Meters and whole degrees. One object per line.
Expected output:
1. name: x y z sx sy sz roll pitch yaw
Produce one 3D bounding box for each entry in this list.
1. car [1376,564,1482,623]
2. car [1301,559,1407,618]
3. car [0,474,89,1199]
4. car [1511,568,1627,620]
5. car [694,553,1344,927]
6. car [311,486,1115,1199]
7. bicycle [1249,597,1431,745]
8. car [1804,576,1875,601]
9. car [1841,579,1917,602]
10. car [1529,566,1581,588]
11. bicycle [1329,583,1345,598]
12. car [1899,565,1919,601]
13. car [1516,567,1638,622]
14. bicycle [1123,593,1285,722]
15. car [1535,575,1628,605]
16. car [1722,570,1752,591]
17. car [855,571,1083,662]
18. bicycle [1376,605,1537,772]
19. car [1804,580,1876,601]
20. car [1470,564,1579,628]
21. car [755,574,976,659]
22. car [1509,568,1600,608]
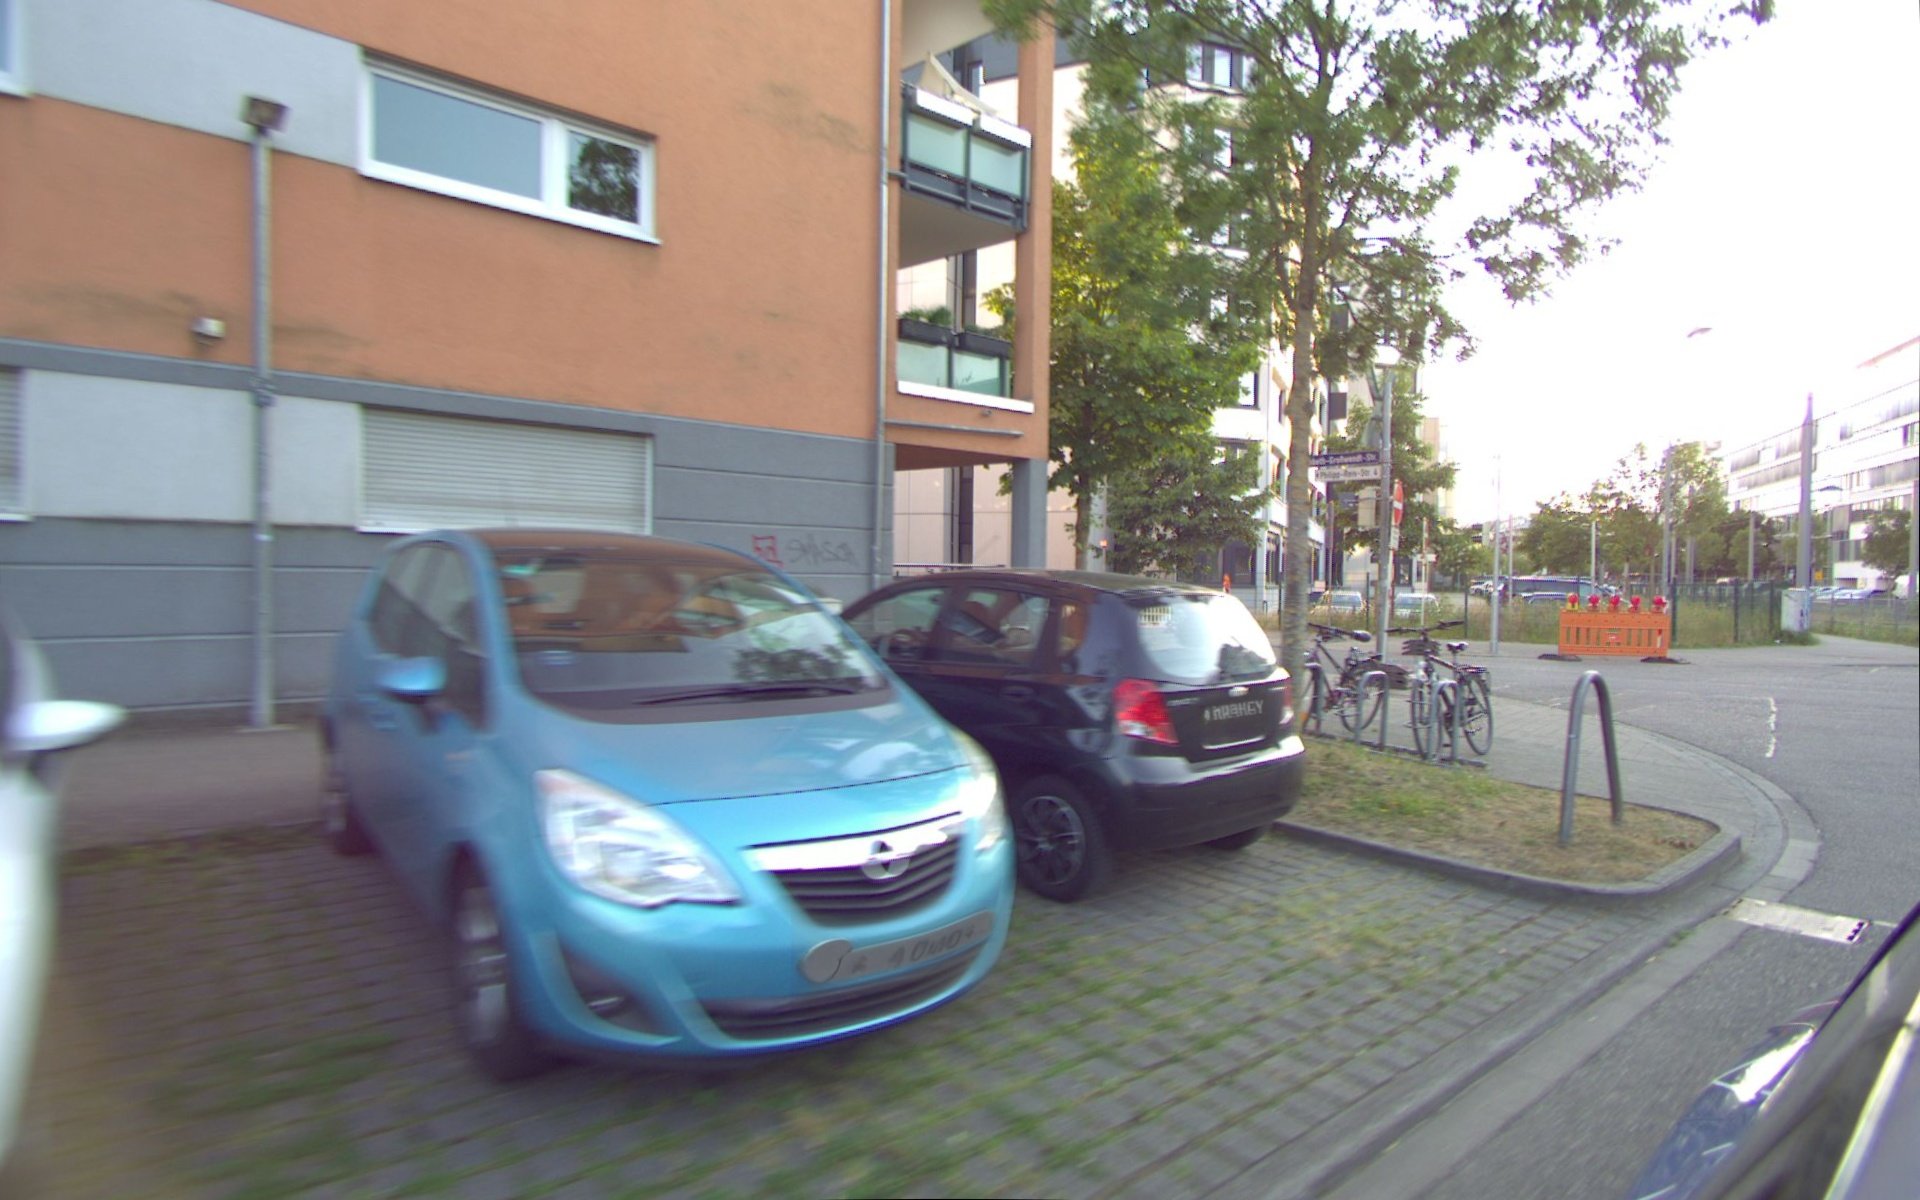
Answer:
1. car: 16.983 -0.262 36.580 3.930 2.039 1.997 0 2 -41
2. car: 14.531 -0.435 37.252 3.930 2.039 1.997 0 2 -41
3. car: -3.360 0.522 2.578 1.591 1.588 3.886 0 2 -39
4. car: 25.148 -0.268 41.979 3.964 2.039 1.980 1 1 29
5. car: 0.085 0.503 5.950 1.586 1.491 3.753 0 2 -43
6. car: -1.450 0.446 4.169 1.643 1.588 4.061 0 3 -39
7. bicycle: 3.458 0.596 9.127 1.894 1.166 0.680 1 2 -42
8. car: 62.620 -0.830 72.069 3.917 1.778 1.721 0 1 -10
9. car: 60.048 -0.621 66.165 3.916 1.393 1.722 0 1 -13
10. car: 56.245 -2.164 95.715 3.955 2.039 1.985 1 1 23
11. bicycle: 24.176 -0.618 64.833 0.806 0.962 2.197 2 2 24
12. car: 76.903 -1.314 80.033 1.985 2.911 6.201 3 2 25
13. car: 24.259 -0.261 39.969 3.964 2.039 1.980 1 1 29
14. bicycle: 2.405 0.524 9.823 1.928 1.141 0.530 1 -1 -42
15. car: 35.627 -0.583 58.180 4.362 1.613 1.801 1 2 27
16. car: 97.559 -2.427 127.084 1.977 2.617 3.970 1 1 23
17. car: 0.309 0.237 20.319 1.992 1.614 4.743 1 1 41
18. bicycle: 4.115 0.659 8.309 0.716 1.167 1.871 4 1 40
19. car: 60.312 -0.634 69.406 3.916 1.393 1.722 0 1 -13
20. car: 19.263 -0.162 34.480 3.930 2.039 1.997 0 2 -41
21. car: -1.933 0.270 21.971 1.992 1.614 4.743 2 2 41
22. car: 31.459 -0.645 53.701 3.961 2.038 1.982 1 2 27
